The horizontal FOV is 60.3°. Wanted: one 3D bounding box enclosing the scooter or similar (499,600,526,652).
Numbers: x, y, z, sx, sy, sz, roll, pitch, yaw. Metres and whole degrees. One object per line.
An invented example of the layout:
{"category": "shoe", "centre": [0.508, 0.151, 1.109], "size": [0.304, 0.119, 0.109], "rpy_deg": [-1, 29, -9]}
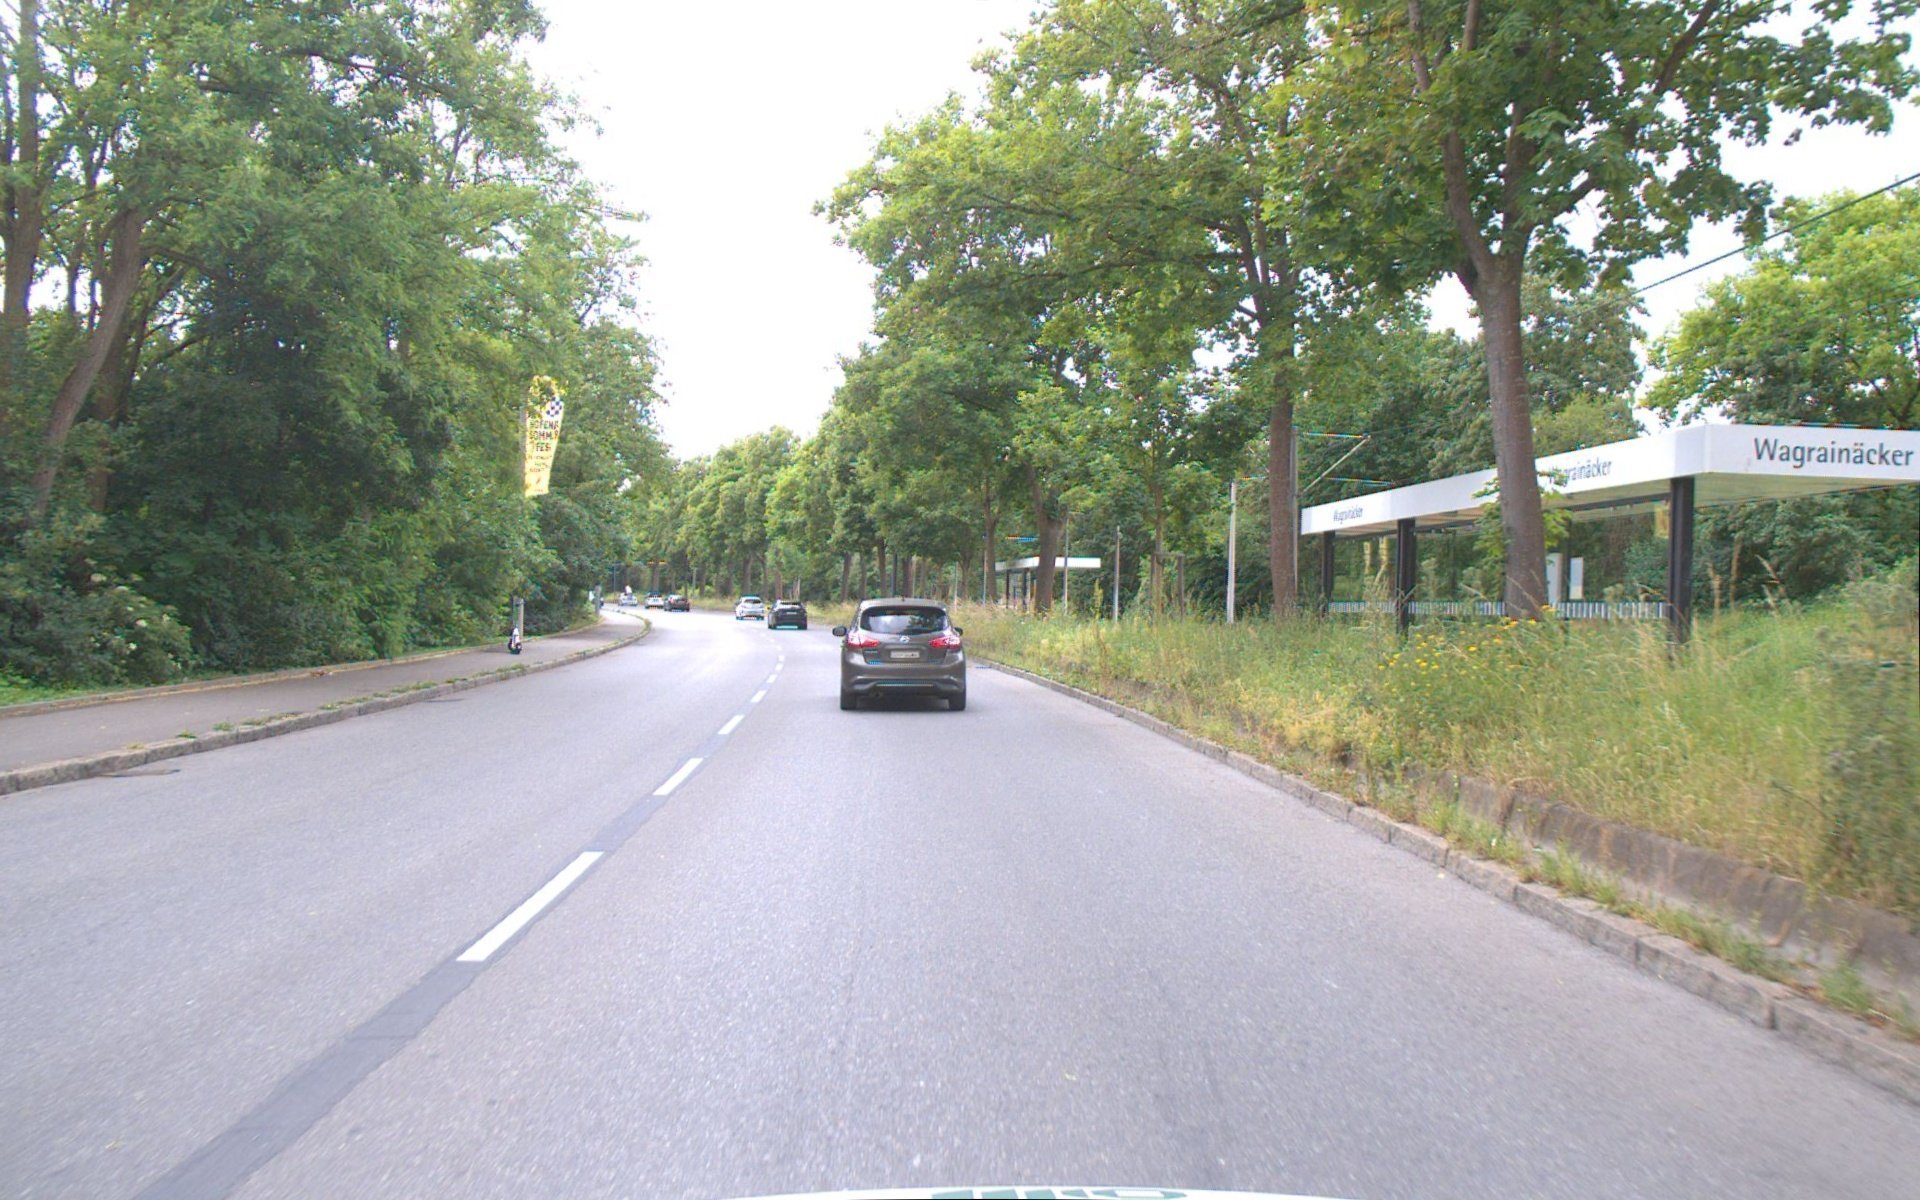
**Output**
{"category": "scooter or similar", "centre": [-10.805, 0.623, 39.931], "size": [0.360, 1.204, 1.287], "rpy_deg": [2, 0, -25]}

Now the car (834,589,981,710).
{"category": "car", "centre": [-0.835, 0.640, 23.759], "size": [1.781, 1.534, 3.995], "rpy_deg": [0, 1, -7]}

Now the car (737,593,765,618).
{"category": "car", "centre": [-13.930, 0.381, 110.447], "size": [1.742, 1.497, 3.995], "rpy_deg": [3, 0, -7]}

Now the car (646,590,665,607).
{"category": "car", "centre": [-29.842, -0.131, 161.962], "size": [1.745, 1.497, 3.988], "rpy_deg": [2, 1, -12]}

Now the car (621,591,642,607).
{"category": "car", "centre": [-36.198, -0.116, 182.052], "size": [1.748, 1.497, 3.980], "rpy_deg": [3, 0, -18]}

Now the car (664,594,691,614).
{"category": "car", "centre": [-25.136, 0.332, 146.963], "size": [1.749, 1.497, 3.980], "rpy_deg": [5, 0, -18]}

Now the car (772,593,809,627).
{"category": "car", "centre": [-8.491, 0.482, 82.788], "size": [1.742, 1.497, 3.995], "rpy_deg": [3, 0, -6]}
